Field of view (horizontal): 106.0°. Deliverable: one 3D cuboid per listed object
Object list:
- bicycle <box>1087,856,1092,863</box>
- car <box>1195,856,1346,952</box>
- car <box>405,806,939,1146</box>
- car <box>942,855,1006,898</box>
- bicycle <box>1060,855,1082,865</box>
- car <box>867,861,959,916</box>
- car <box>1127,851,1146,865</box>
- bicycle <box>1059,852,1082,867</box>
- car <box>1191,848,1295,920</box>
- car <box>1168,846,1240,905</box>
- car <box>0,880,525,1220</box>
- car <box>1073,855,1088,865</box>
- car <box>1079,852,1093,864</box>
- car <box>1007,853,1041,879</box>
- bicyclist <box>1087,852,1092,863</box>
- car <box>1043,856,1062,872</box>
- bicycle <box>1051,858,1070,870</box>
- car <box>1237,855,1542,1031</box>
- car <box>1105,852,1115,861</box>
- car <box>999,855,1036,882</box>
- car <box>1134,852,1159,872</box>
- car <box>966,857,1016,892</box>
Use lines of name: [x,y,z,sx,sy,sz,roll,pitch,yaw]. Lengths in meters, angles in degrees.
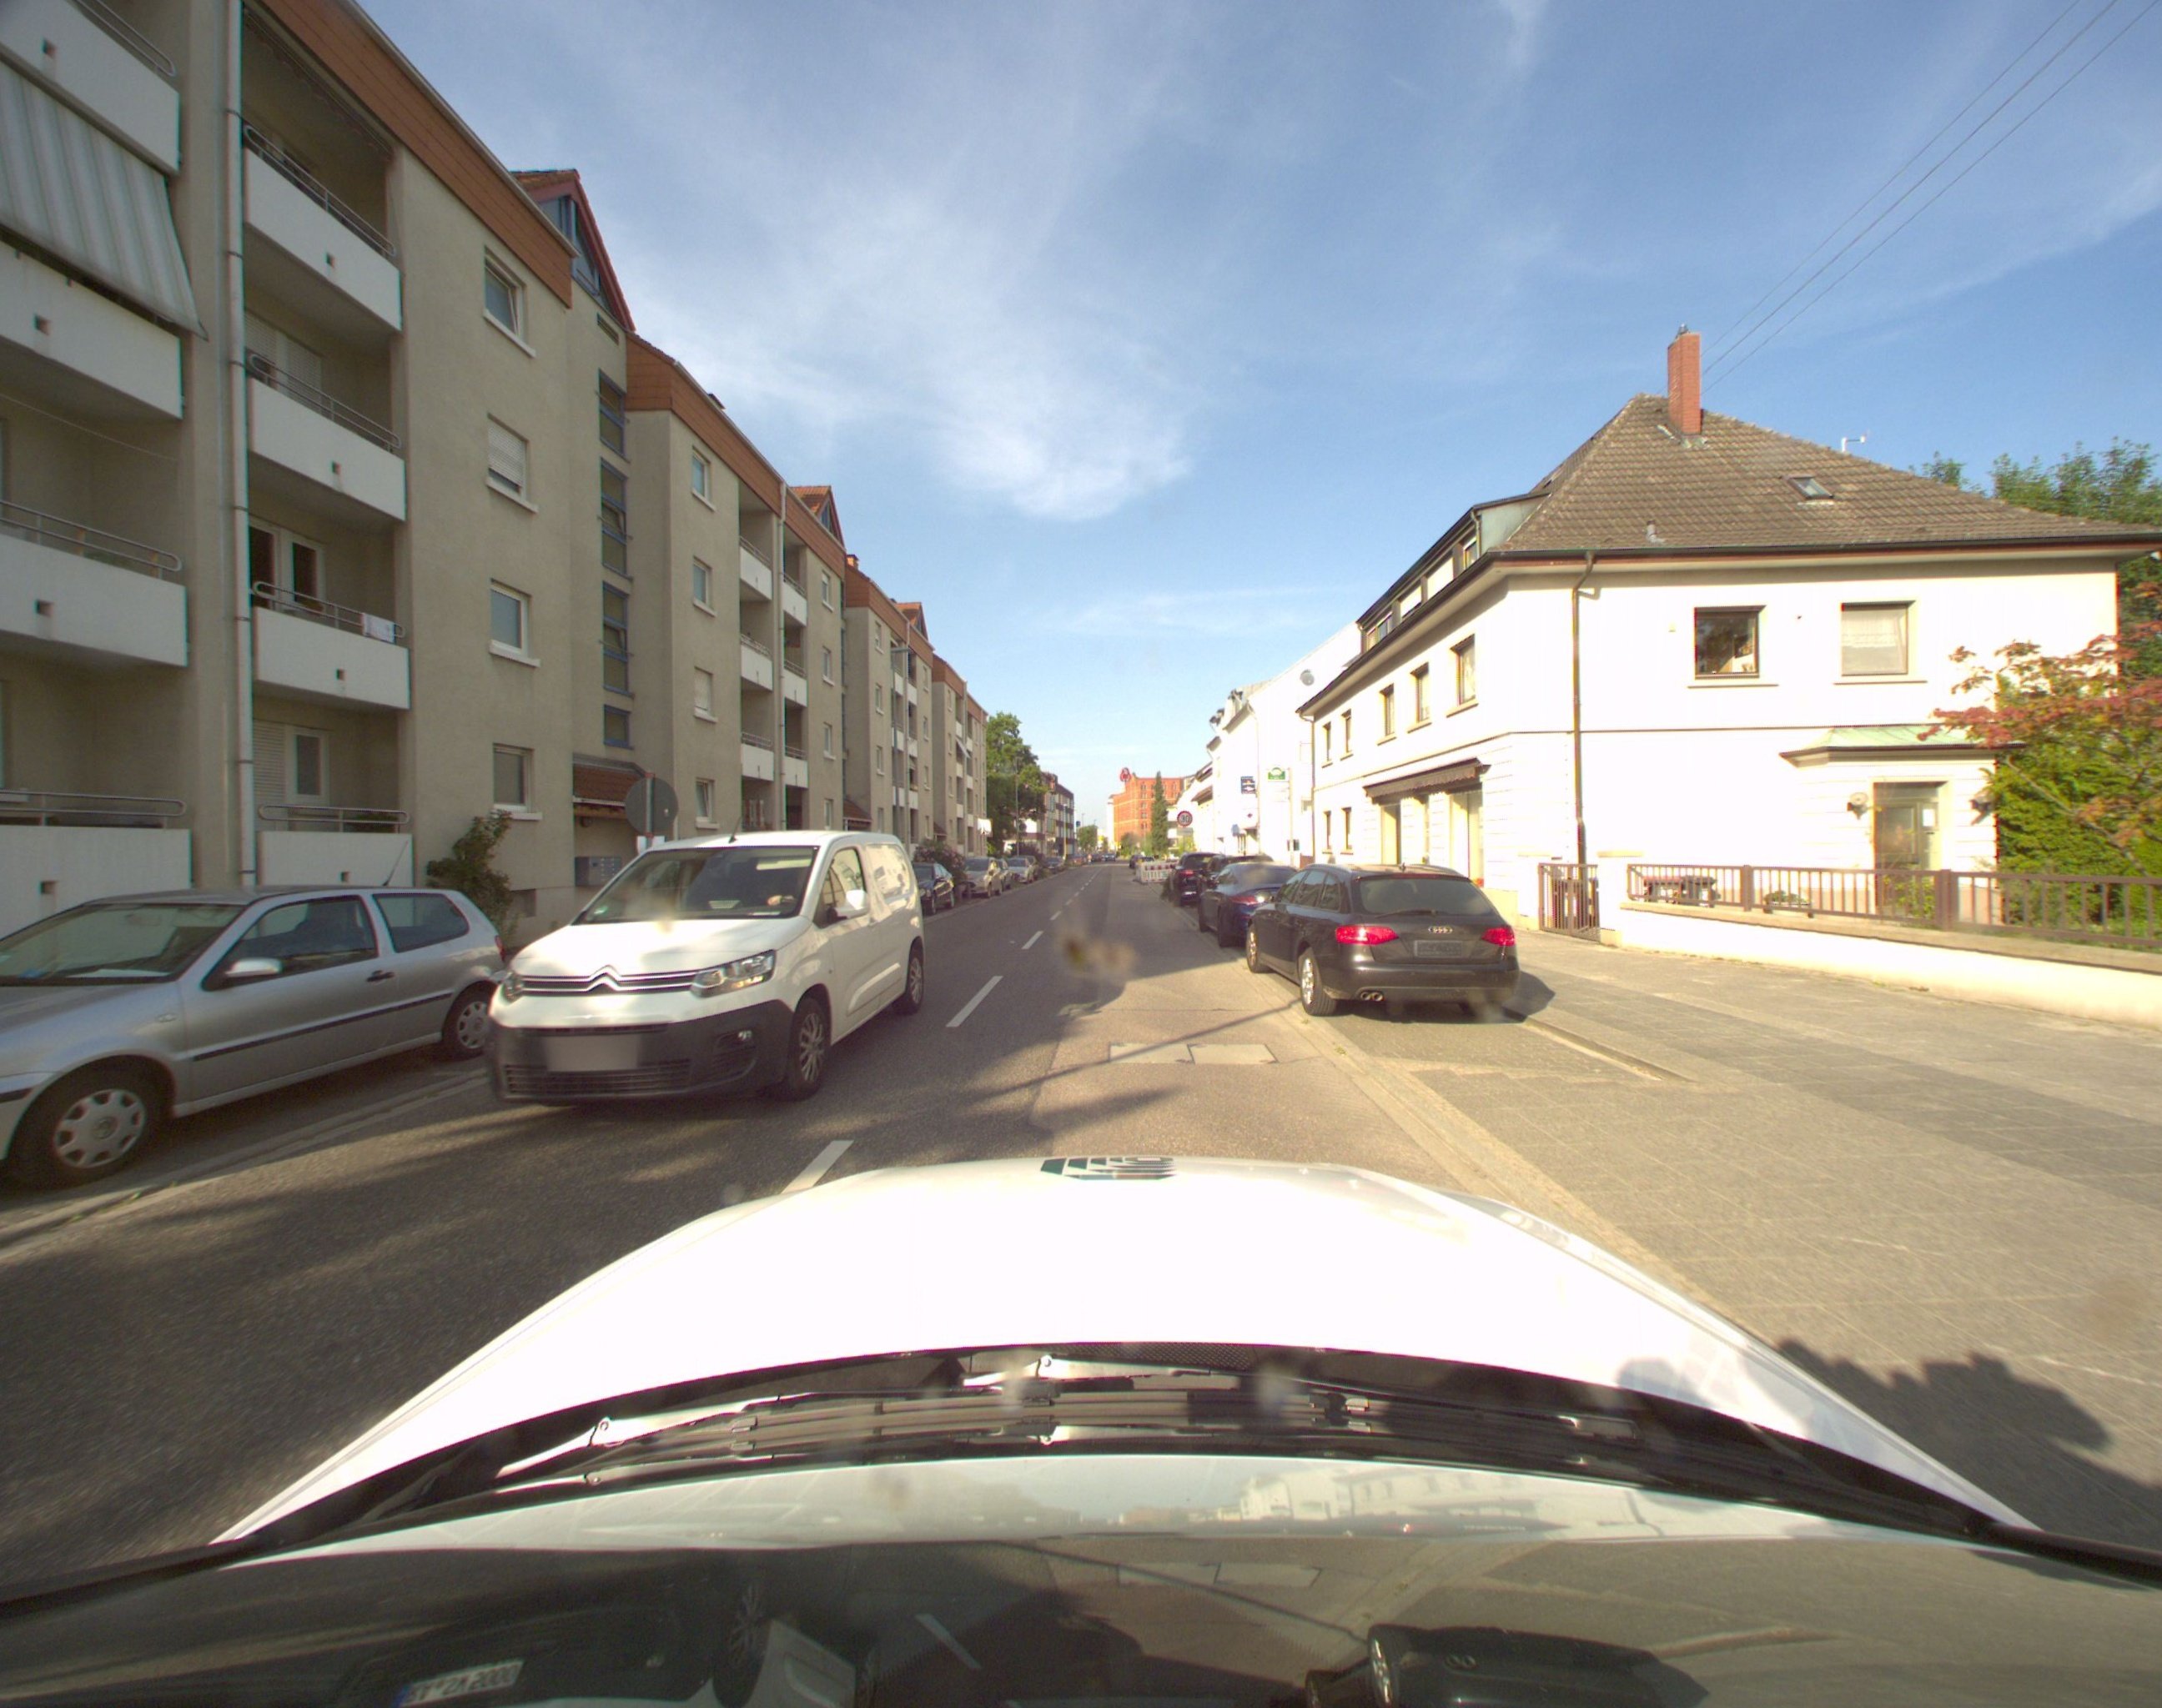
bicycle: [1.134,0.742,111.437,0.606,0.942,1.812,-1,0,2]
car: [3.217,0.765,14.729,1.822,1.420,4.612,-1,0,2]
car: [-2.593,0.657,6.566,1.914,1.767,4.340,-2,0,2]
car: [-4.113,0.839,31.830,1.719,1.555,3.969,0,0,4]
bicycle: [-1.270,0.788,106.900,2.761,1.144,1.144,-1,0,3]
car: [-4.698,0.918,23.307,1.680,1.405,4.085,0,0,1]
car: [6.058,0.472,89.266,1.852,1.472,4.002,-1,0,2]
bicycle: [-1.354,0.727,105.128,2.905,1.777,1.203,-1,0,3]
car: [3.920,0.676,20.408,1.823,1.560,4.318,-2,0,1]
car: [3.728,0.675,25.316,1.822,1.630,4.466,1,-2,4]
car: [-5.585,0.928,5.109,1.635,1.395,3.672,0,0,1]
car: [-0.077,0.834,114.829,1.832,1.464,3.587,-1,0,3]
car: [0.800,0.575,134.776,1.985,1.907,4.004,-1,0,3]
car: [-3.596,0.741,51.855,1.679,1.603,4.372,0,0,2]
bicyclist: [1.124,0.492,111.473,0.588,1.442,0.751,-1,0,2]
car: [-2.647,0.912,76.452,1.567,1.420,3.805,0,0,2]
bicycle: [-2.205,1.058,88.324,1.996,1.217,0.707,-1,0,-4]
car: [3.003,0.745,9.042,1.773,1.420,4.497,-1,0,1]
car: [5.568,0.507,154.452,1.757,1.616,4.002,-2,0,2]
car: [-3.614,0.777,46.752,1.680,1.454,4.142,0,0,1]
car: [5.213,0.638,64.993,1.822,1.482,3.946,-2,0,3]
car: [-4.182,0.918,38.405,1.801,1.521,4.371,0,0,1]
